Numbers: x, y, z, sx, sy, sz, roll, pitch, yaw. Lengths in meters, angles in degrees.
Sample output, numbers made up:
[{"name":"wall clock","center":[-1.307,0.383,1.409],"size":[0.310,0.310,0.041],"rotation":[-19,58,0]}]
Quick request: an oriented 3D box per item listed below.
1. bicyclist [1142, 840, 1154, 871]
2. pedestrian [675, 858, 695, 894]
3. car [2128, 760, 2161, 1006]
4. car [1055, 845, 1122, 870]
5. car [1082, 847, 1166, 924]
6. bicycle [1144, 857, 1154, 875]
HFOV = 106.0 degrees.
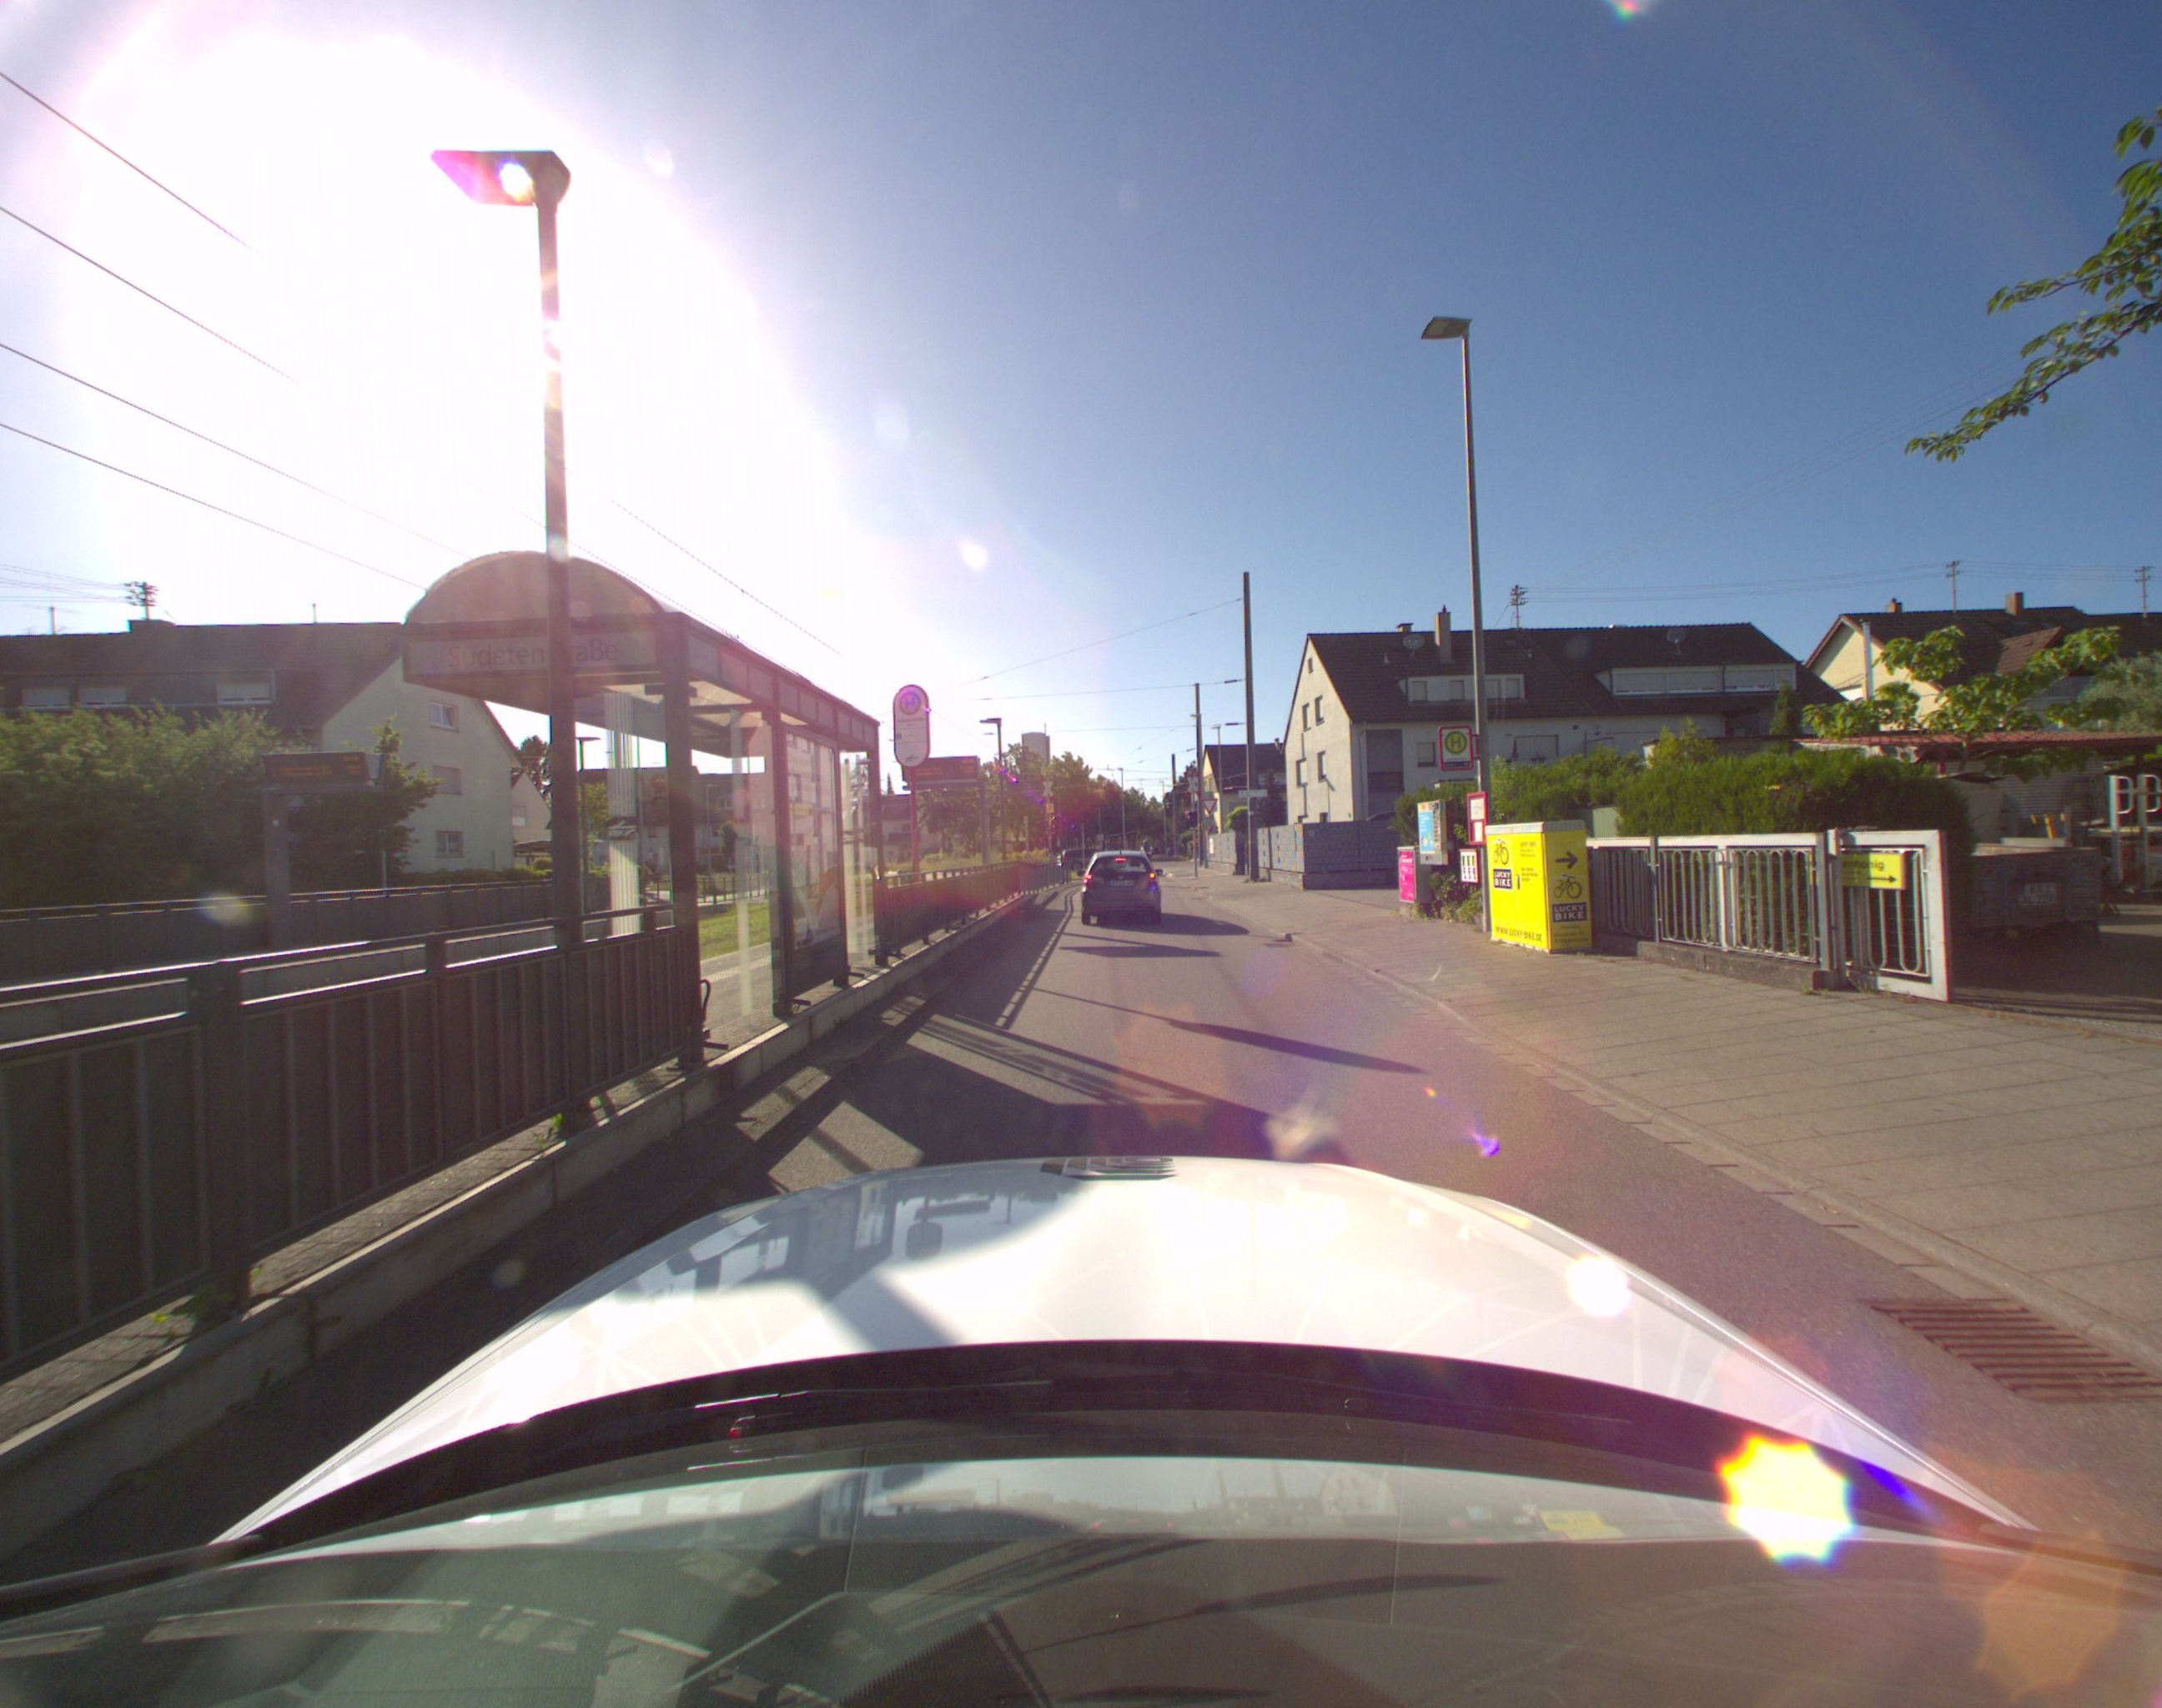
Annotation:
[{"name":"bicyclist","center":[3.642,0.091,44.329],"size":[0.596,1.701,0.684],"rotation":[-1,-1,2]},{"name":"pedestrian","center":[-19.414,1.081,39.939],"size":[0.591,1.732,0.689],"rotation":[-2,0,0]},{"name":"car","center":[8.827,0.063,4.703],"size":[3.758,1.569,1.747],"rotation":[-4,0,-8]},{"name":"car","center":[0.458,0.206,52.519],"size":[3.997,1.529,1.797],"rotation":[0,0,-18]},{"name":"car","center":[0.901,0.619,18.074],"size":[1.664,1.535,3.488],"rotation":[-1,0,1]},{"name":"bicycle","center":[3.703,0.638,44.470],"size":[0.473,0.961,1.658],"rotation":[-1,0,2]}]
